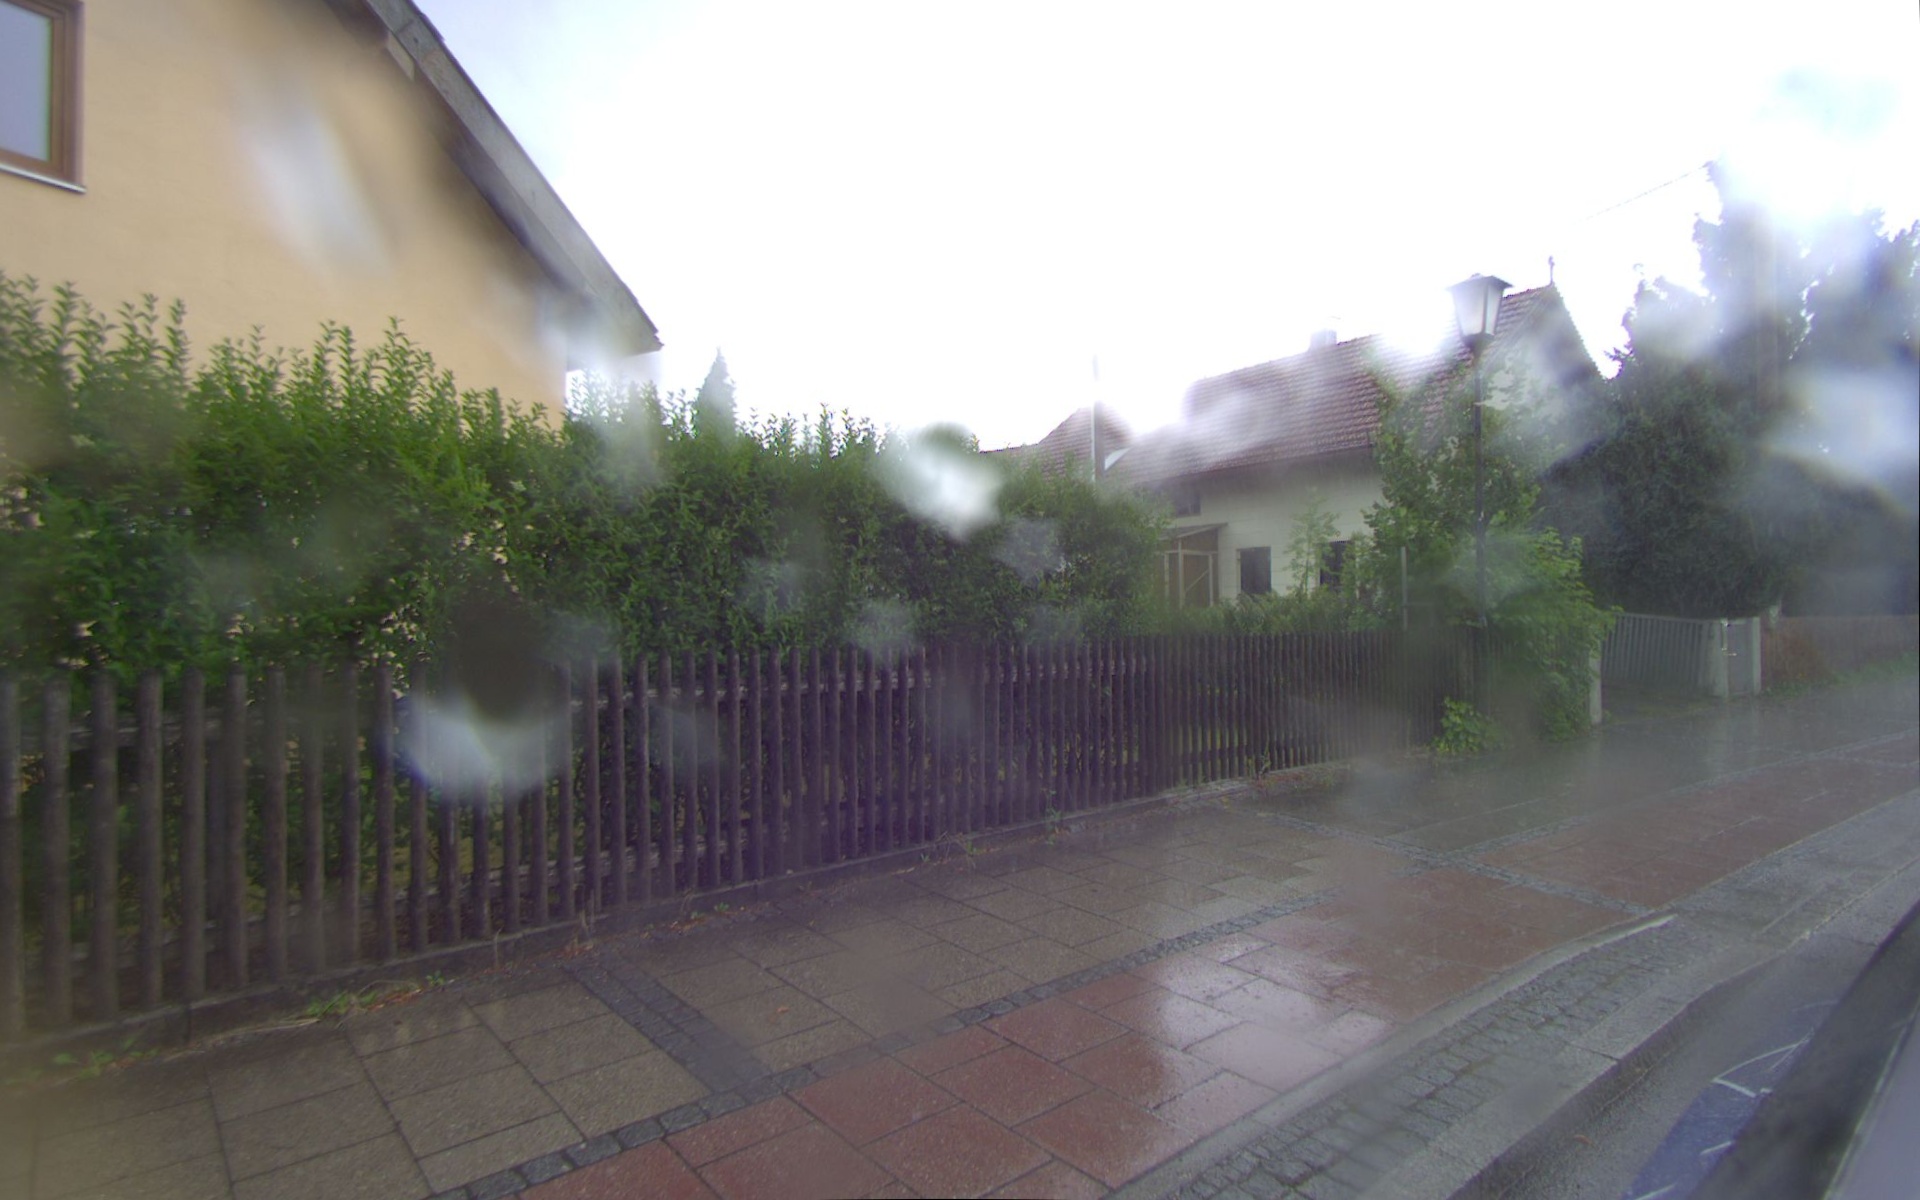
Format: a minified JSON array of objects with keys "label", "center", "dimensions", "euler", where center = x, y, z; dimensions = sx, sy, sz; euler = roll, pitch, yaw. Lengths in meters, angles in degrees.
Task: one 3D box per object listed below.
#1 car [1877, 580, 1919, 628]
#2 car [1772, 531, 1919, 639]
[{"label":"car","center":[30.488,0.179,30.182],"dimensions":[1.798,1.438,4.438],"euler":[-1,3,-41]},{"label":"car","center":[24.970,-0.402,26.644],"dimensions":[1.966,2.761,5.311],"euler":[-1,2,-42]}]
